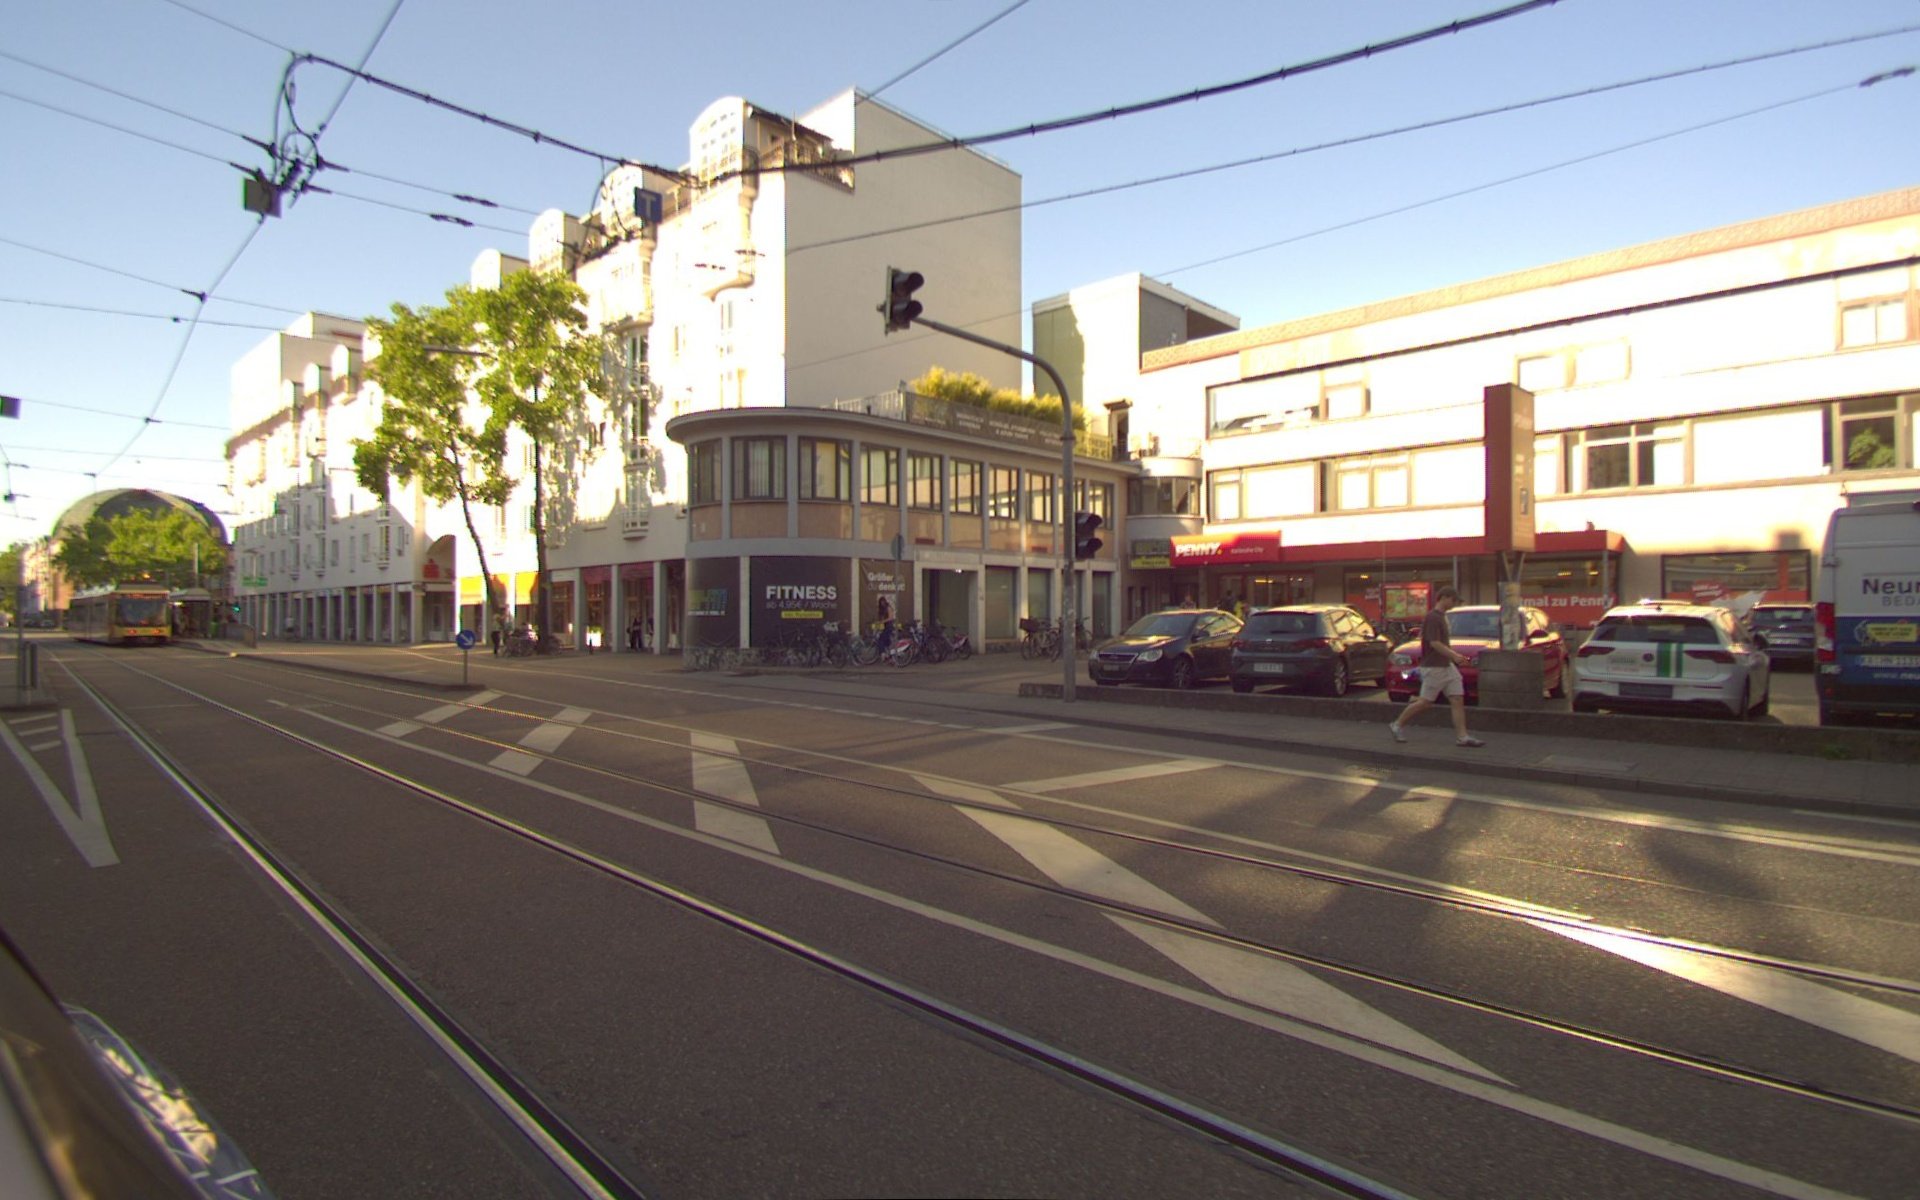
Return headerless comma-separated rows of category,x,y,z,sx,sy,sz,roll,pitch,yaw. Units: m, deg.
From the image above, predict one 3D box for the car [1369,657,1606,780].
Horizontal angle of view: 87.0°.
car,8.004,1.628,15.148,1.880,1.487,4.536,-3,-4,44

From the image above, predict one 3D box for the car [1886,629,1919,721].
car,19.592,1.426,19.854,1.999,1.713,3.944,-2,-2,42

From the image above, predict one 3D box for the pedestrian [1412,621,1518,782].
pedestrian,6.106,1.186,12.244,0.909,1.846,0.824,-3,-4,44

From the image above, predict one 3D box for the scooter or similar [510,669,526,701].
scooter or similar,-18.544,3.557,42.480,0.372,1.288,1.183,-2,-1,-34

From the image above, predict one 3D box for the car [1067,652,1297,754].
car,4.224,1.790,18.749,1.880,1.595,4.839,-3,-4,44

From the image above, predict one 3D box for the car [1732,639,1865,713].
car,17.839,1.533,21.489,1.999,1.364,3.944,-2,-2,42

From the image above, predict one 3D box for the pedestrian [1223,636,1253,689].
pedestrian,9.174,2.064,33.416,0.683,1.710,0.669,-3,-4,44

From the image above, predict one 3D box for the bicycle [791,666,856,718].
bicycle,-3.337,2.224,24.662,1.829,1.196,0.436,-2,-3,39

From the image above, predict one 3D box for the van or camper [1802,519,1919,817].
van or camper,11.371,0.713,11.427,2.316,2.849,5.542,-3,-4,45

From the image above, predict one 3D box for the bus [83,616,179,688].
bus,-46.177,2.785,56.173,2.779,3.595,13.686,2,-3,-45

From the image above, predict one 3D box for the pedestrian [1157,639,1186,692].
pedestrian,6.942,2.131,33.265,0.703,1.710,0.616,-3,-4,44

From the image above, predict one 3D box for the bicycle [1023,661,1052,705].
bicycle,2.226,2.357,28.955,0.452,1.196,1.821,-1,-3,16

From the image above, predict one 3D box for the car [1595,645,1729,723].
car,15.825,1.800,22.727,1.999,1.519,3.944,-2,-2,42

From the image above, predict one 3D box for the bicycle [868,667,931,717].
bicycle,-1.548,2.302,25.657,1.831,1.196,0.443,-3,-3,42

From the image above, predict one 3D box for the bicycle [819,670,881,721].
bicycle,-2.767,2.373,25.307,1.831,1.196,0.438,-3,-3,42

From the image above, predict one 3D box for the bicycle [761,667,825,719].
bicycle,-4.087,2.258,24.731,1.829,1.196,0.441,-2,-3,38

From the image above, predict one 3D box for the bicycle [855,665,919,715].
bicycle,-1.847,2.231,25.284,1.831,1.196,0.443,-3,-3,42

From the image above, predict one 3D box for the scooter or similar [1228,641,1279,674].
scooter or similar,8.956,1.752,30.890,1.247,0.968,0.903,-2,-2,43

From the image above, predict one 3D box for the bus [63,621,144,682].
bus,-55.795,3.254,65.746,13.684,3.595,2.779,-2,-3,45

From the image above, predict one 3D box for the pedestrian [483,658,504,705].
pedestrian,-17.823,3.101,38.658,0.621,1.729,0.827,1,-2,-18

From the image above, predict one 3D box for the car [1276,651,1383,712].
car,10.210,2.167,27.787,1.873,1.487,4.553,-2,-3,32

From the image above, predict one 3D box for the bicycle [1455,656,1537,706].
bicycle,13.634,2.041,25.785,0.426,1.196,1.835,2,-2,-39

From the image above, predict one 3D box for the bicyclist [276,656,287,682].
bicyclist,-46.529,4.714,69.403,0.808,1.713,0.507,-2,-1,45

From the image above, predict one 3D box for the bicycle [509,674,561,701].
bicycle,-16.503,3.392,39.319,1.822,0.919,0.390,0,-2,-41

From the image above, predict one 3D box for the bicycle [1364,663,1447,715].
bicycle,10.872,2.150,24.759,0.426,1.196,1.835,2,-3,-39

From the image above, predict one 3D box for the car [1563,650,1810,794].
car,9.436,1.399,12.989,1.880,1.487,4.536,-3,-4,44

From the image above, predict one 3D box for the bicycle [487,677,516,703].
bicycle,-17.488,3.418,38.597,0.383,0.919,1.852,0,-1,-45

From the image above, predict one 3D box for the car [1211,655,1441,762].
car,6.228,1.698,16.928,1.880,1.487,4.536,-3,-4,44

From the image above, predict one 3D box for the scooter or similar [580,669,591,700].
scooter or similar,-14.216,3.212,38.419,0.330,1.120,1.184,1,-2,-23

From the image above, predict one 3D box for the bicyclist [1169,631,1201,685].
bicyclist,6.589,1.688,29.625,0.688,1.561,0.830,-2,-3,27

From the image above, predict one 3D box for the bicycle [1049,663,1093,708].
bicycle,3.123,2.384,28.359,0.349,1.196,1.808,-2,-3,37

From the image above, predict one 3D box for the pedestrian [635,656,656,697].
pedestrian,-12.403,3.023,39.968,0.552,1.588,0.632,2,-3,-44

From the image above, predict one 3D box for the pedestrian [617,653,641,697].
pedestrian,-13.256,3.006,40.552,0.622,1.729,0.825,2,-3,-44

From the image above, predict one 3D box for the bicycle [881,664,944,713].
bicycle,-1.242,2.269,26.136,1.831,1.196,0.443,-3,-3,42

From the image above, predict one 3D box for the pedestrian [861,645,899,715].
pedestrian,-2.009,1.993,25.305,0.683,1.710,0.673,-3,-4,42

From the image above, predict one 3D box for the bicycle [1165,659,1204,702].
bicycle,6.582,2.344,29.574,0.680,1.180,1.814,-2,-3,27

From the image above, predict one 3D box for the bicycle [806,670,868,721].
bicycle,-3.047,2.335,24.966,1.831,1.196,0.443,-3,-3,42

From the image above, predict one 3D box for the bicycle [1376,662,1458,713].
bicycle,11.316,2.157,25.095,0.426,1.196,1.835,2,-3,-39

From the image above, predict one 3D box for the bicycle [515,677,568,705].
bicycle,-15.893,3.443,38.476,1.822,0.919,0.390,0,-1,-41

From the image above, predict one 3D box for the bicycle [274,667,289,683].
bicycle,-46.513,5.147,69.377,0.511,0.996,1.728,0,-1,-45

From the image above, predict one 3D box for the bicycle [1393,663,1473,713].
bicycle,11.975,2.222,25.676,0.426,1.196,1.835,2,-3,-39
